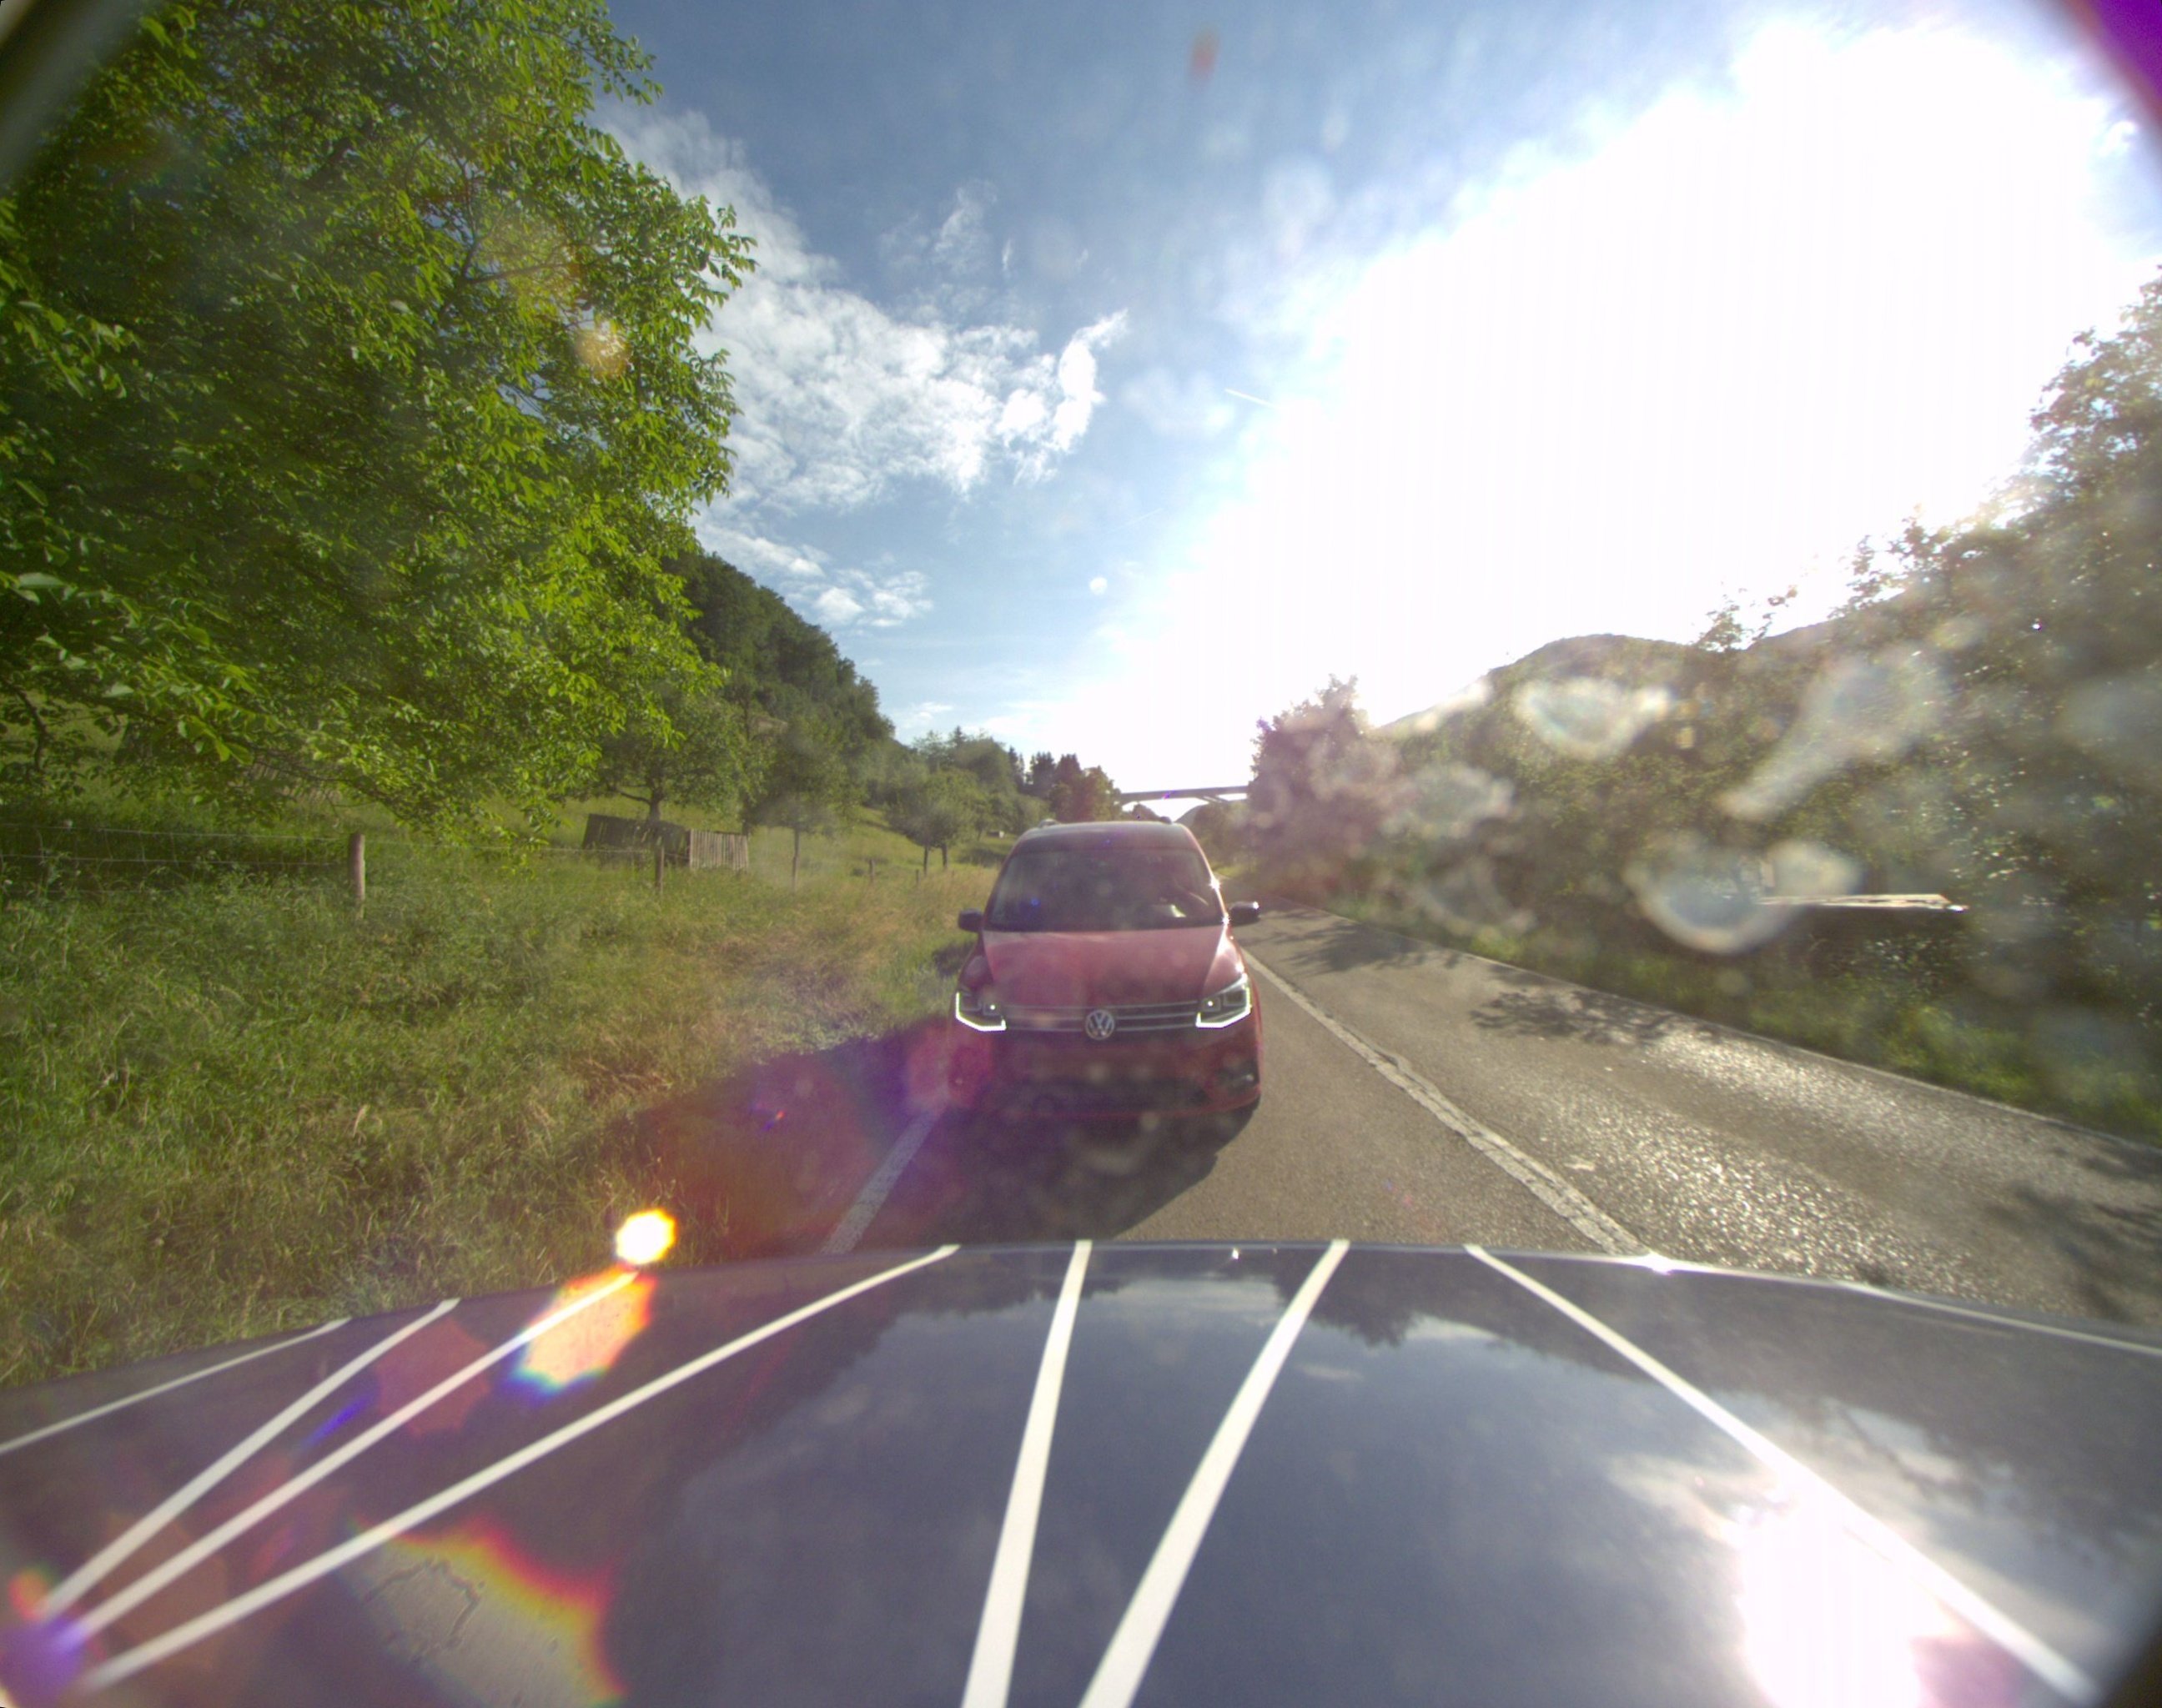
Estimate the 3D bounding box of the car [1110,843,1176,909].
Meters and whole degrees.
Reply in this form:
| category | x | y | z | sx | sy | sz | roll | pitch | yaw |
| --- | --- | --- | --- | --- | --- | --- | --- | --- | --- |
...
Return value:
| category | x | y | z | sx | sy | sz | roll | pitch | yaw |
| --- | --- | --- | --- | --- | --- | --- | --- | --- | --- |
| car | 1.855 | 0.576 | 22.931 | 1.758 | 1.745 | 4.001 | -2 | 1 | 5 |

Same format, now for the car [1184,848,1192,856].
| category | x | y | z | sx | sy | sz | roll | pitch | yaw |
| --- | --- | --- | --- | --- | --- | --- | --- | --- | --- |
| car | 21.260 | -0.409 | 151.341 | 1.597 | 1.346 | 4.205 | -2 | 1 | 8 |

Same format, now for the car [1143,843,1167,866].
| category | x | y | z | sx | sy | sz | roll | pitch | yaw |
| --- | --- | --- | --- | --- | --- | --- | --- | --- | --- |
| car | 6.925 | 0.046 | 71.349 | 1.998 | 2.002 | 4.000 | -2 | 1 | 4 |

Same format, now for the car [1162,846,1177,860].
| category | x | y | z | sx | sy | sz | roll | pitch | yaw |
| --- | --- | --- | --- | --- | --- | --- | --- | --- | --- |
| car | 13.463 | -0.192 | 115.685 | 1.998 | 2.002 | 4.001 | -2 | 1 | 6 |

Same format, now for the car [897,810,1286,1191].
| category | x | y | z | sx | sy | sz | roll | pitch | yaw |
| --- | --- | --- | --- | --- | --- | --- | --- | --- | --- |
| car | 0.189 | 0.671 | 5.764 | 1.759 | 1.745 | 4.430 | -2 | 1 | 4 |

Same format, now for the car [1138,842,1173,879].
| category | x | y | z | sx | sy | sz | roll | pitch | yaw |
| --- | --- | --- | --- | --- | --- | --- | --- | --- | --- |
| car | 4.146 | 0.300 | 42.536 | 1.758 | 1.926 | 4.001 | -2 | 1 | 5 |
